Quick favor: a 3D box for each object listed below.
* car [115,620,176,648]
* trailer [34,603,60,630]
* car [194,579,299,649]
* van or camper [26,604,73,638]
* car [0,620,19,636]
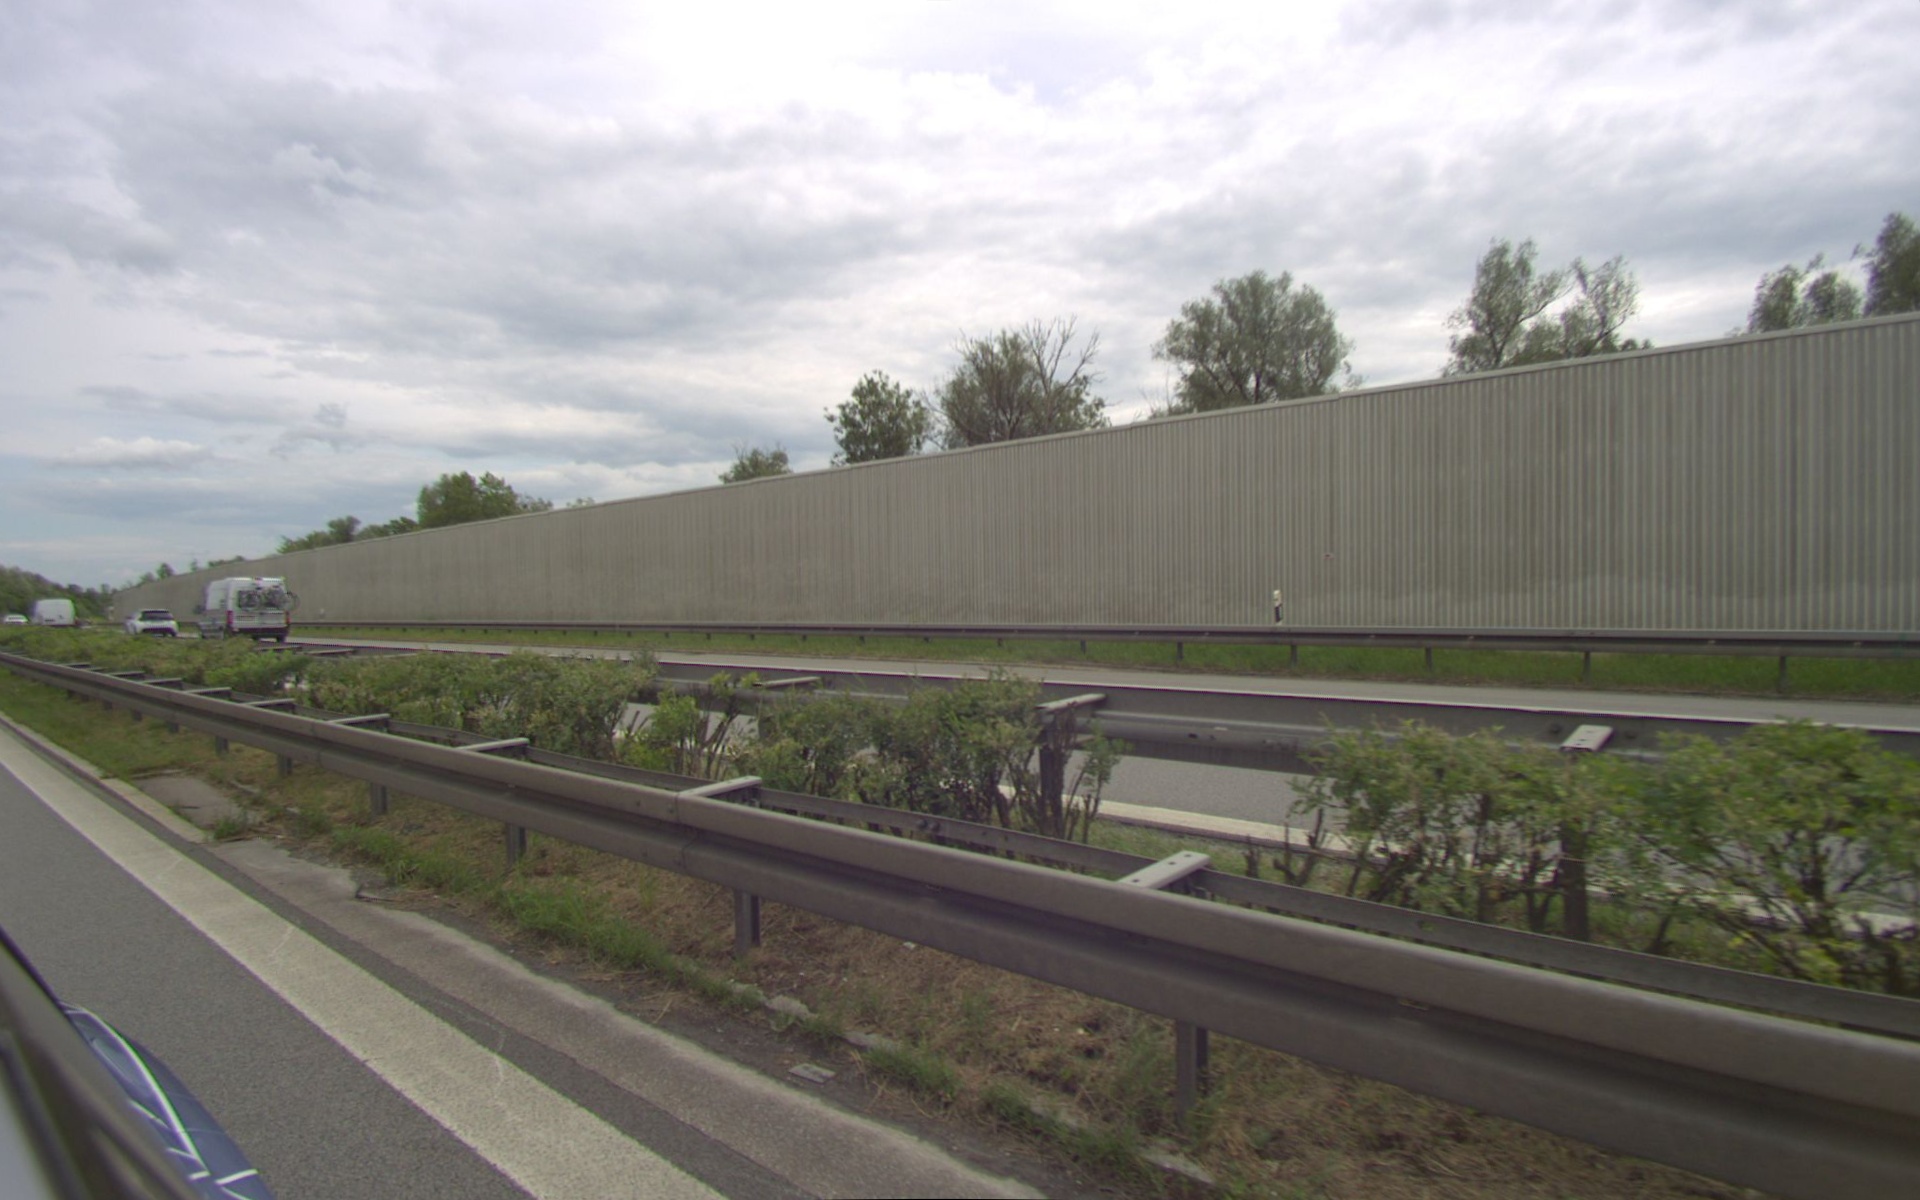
[{"bbox_3d":[-42.680,1.754,53.003,4.498,1.414,1.844,-2,-2,42],"label":"car"},{"bbox_3d":[-149.093,2.809,165.405,2.945,4.272,14.197,1,-2,-42],"label":"trailer"},{"bbox_3d":[-27.086,0.570,38.343,5.682,2.474,2.089,-2,-2,43],"label":"car"},{"bbox_3d":[-69.155,1.596,76.803,6.307,2.460,1.972,-2,-2,42],"label":"van or camper"},{"bbox_3d":[-91.110,2.657,96.442,4.969,1.425,1.785,-2,0,44],"label":"car"}]
